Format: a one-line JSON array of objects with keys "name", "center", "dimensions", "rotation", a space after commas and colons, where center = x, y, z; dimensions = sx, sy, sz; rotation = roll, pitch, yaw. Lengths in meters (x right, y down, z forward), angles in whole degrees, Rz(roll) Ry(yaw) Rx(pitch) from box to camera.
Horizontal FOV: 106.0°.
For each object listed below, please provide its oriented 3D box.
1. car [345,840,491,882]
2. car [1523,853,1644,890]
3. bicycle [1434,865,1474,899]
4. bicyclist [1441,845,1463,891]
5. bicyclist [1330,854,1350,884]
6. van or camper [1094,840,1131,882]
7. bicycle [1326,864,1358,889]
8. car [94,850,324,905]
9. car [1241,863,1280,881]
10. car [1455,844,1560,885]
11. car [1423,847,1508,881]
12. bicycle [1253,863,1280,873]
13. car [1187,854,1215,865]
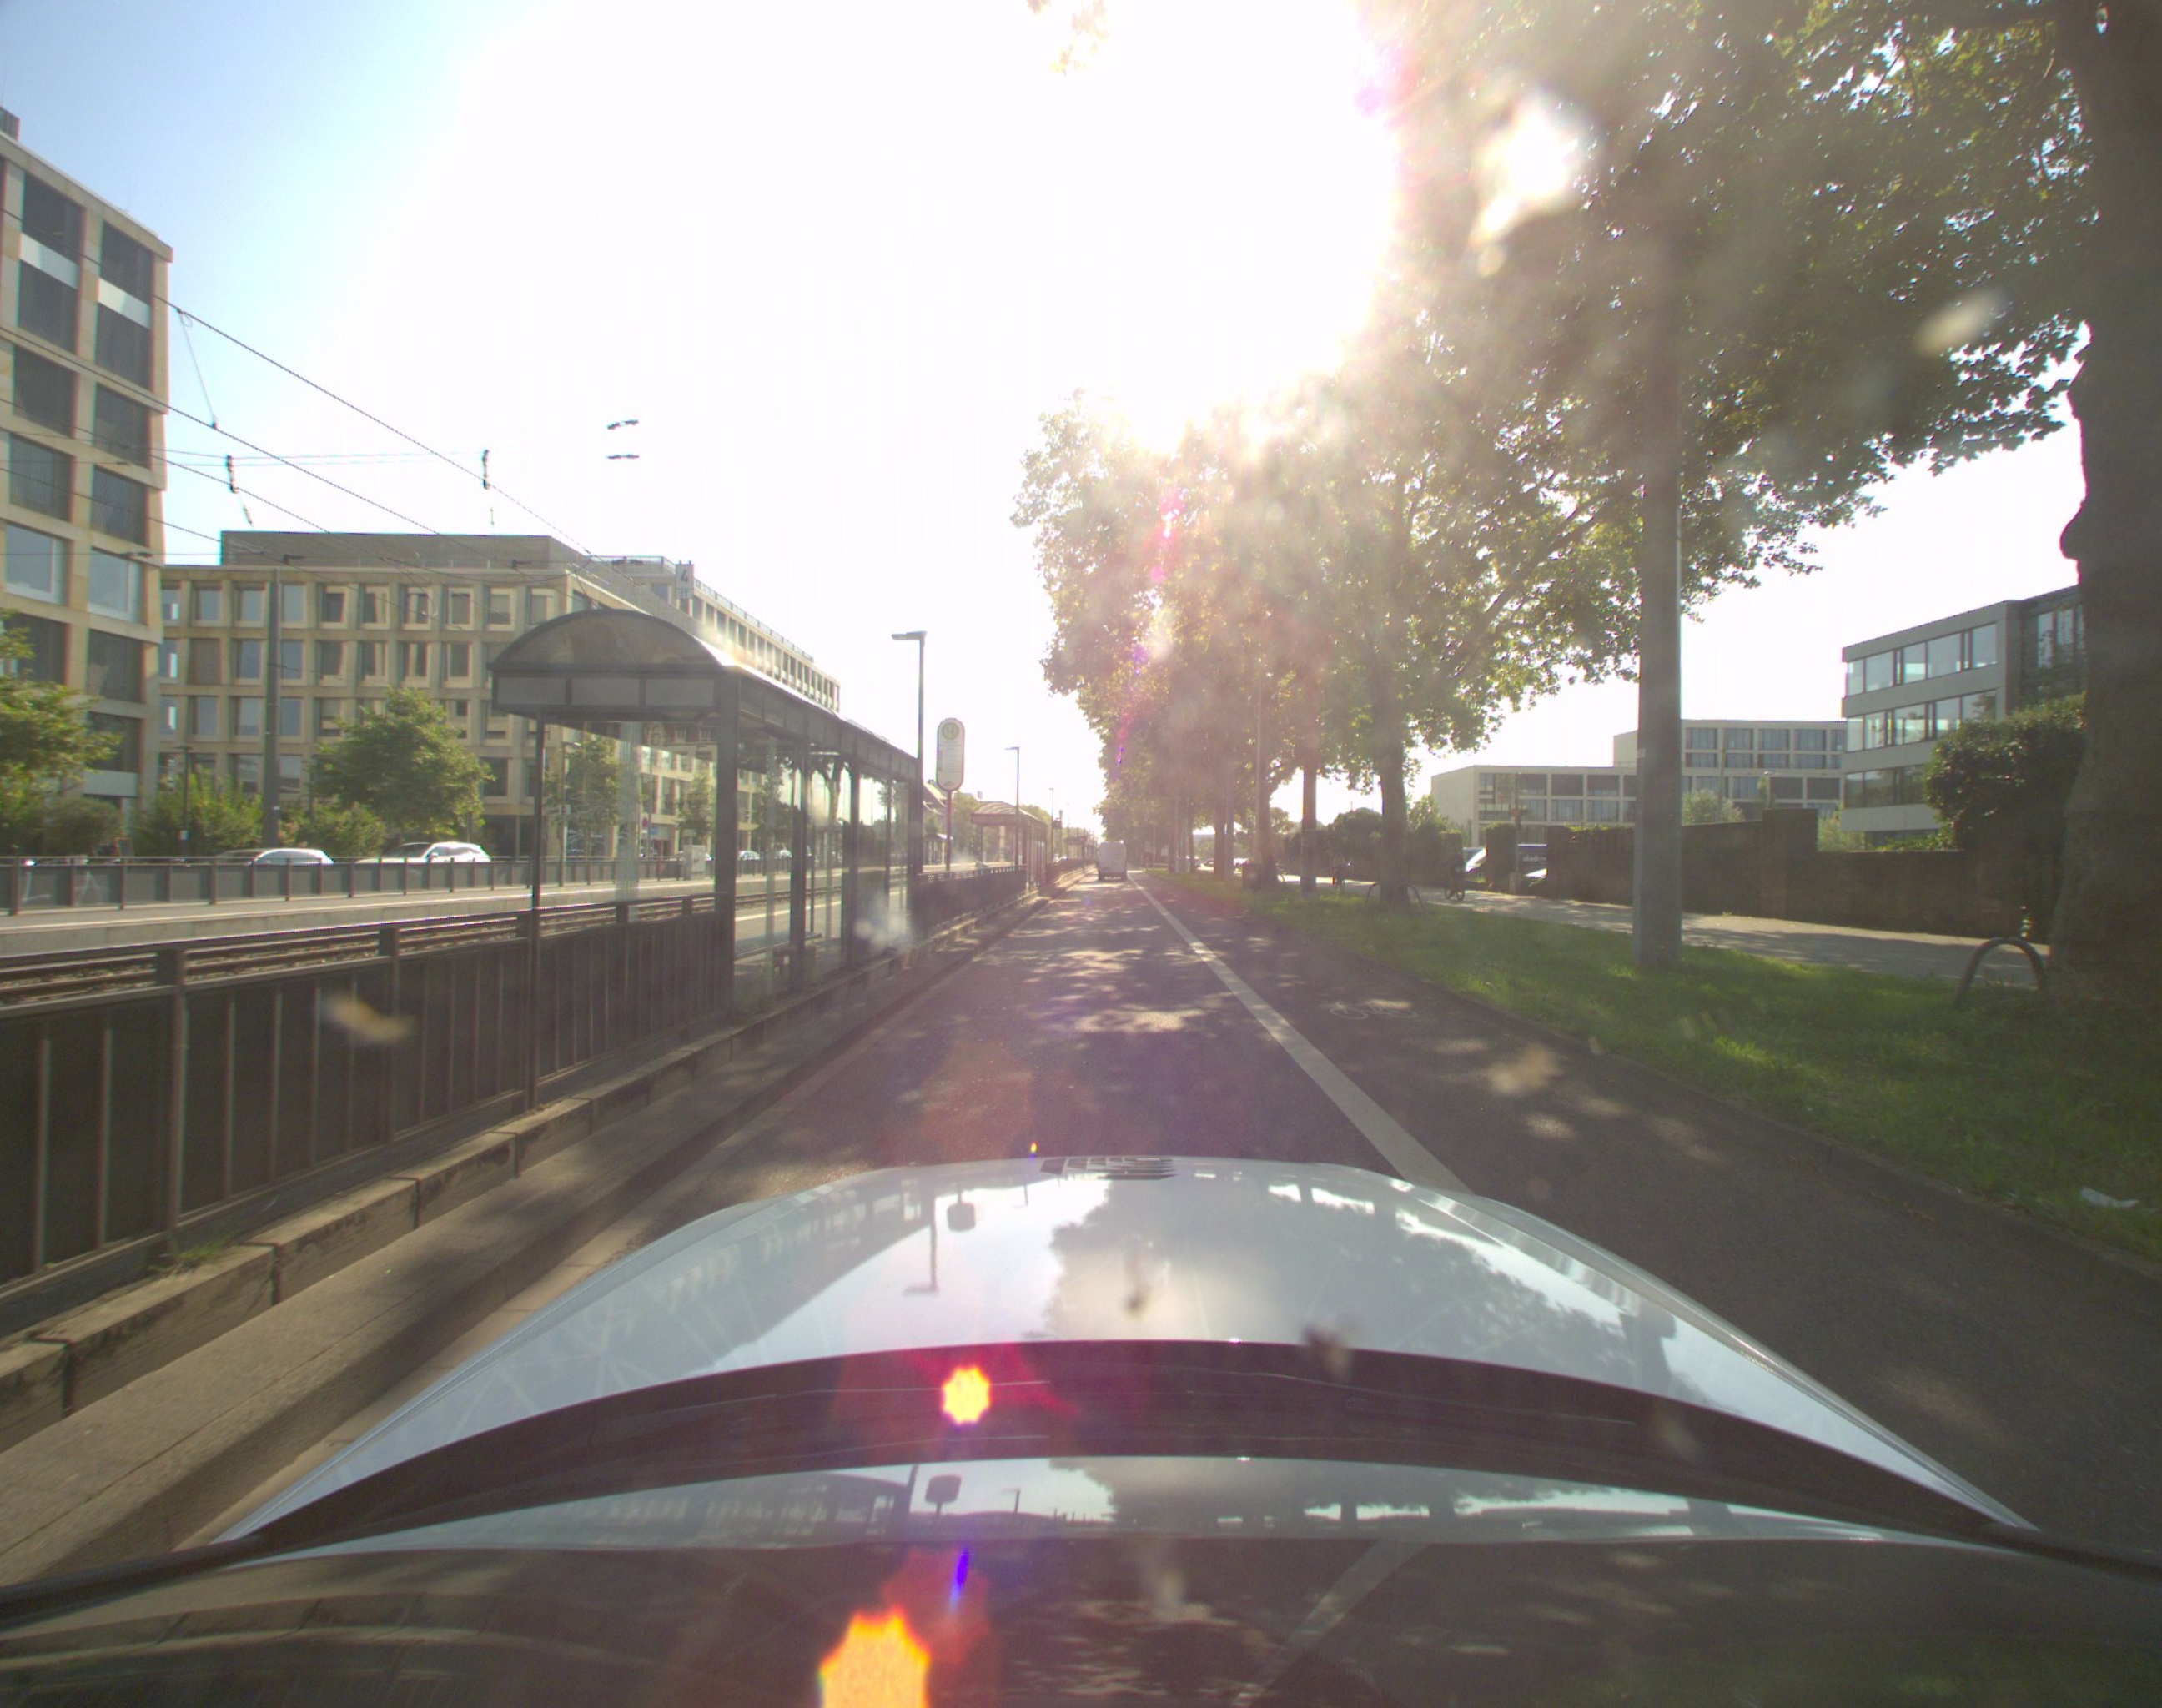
[{"name": "car", "center": [-24.161, 0.242, 29.915], "dimensions": [1.678, 1.407, 4.371], "rotation": [0, 0, 1]}, {"name": "car", "center": [20.056, 0.686, 32.583], "dimensions": [3.974, 1.403, 1.503], "rotation": [0, 0, -1]}, {"name": "bicycle", "center": [12.556, 0.923, 27.482], "dimensions": [0.490, 1.089, 1.856], "rotation": [1, 0, -1]}, {"name": "bicyclist", "center": [12.556, 0.476, 27.591], "dimensions": [0.467, 1.539, 0.596], "rotation": [1, 0, -1]}, {"name": "bicyclist", "center": [11.162, 0.647, 35.108], "dimensions": [0.667, 1.276, 0.728], "rotation": [0, 0, 1]}, {"name": "van or camper", "center": [2.092, 0.445, 56.199], "dimensions": [2.110, 2.682, 5.247], "rotation": [3, 0, -2]}, {"name": "bicycle", "center": [11.191, 0.966, 34.962], "dimensions": [0.679, 1.005, 2.218], "rotation": [0, 0, 1]}, {"name": "car", "center": [-24.233, 0.602, 22.920], "dimensions": [1.678, 1.407, 4.374], "rotation": [0, 0, 1]}, {"name": "car", "center": [20.297, 2.024, 92.217], "dimensions": [3.972, 1.882, 2.000], "rotation": [2, -1, 1]}, {"name": "car", "center": [20.342, 0.506, 38.925], "dimensions": [4.260, 1.892, 1.561], "rotation": [0, 0, -1]}, {"name": "car", "center": [21.283, 0.533, 45.150], "dimensions": [3.989, 1.843, 1.561], "rotation": [0, 0, -1]}, {"name": "bicycle", "center": [15.998, 1.175, 70.166], "dimensions": [2.171, 0.847, 0.503], "rotation": [0, 0, 2]}, {"name": "car", "center": [18.125, 0.854, 123.251], "dimensions": [3.972, 1.376, 2.000], "rotation": [2, -1, 1]}]
